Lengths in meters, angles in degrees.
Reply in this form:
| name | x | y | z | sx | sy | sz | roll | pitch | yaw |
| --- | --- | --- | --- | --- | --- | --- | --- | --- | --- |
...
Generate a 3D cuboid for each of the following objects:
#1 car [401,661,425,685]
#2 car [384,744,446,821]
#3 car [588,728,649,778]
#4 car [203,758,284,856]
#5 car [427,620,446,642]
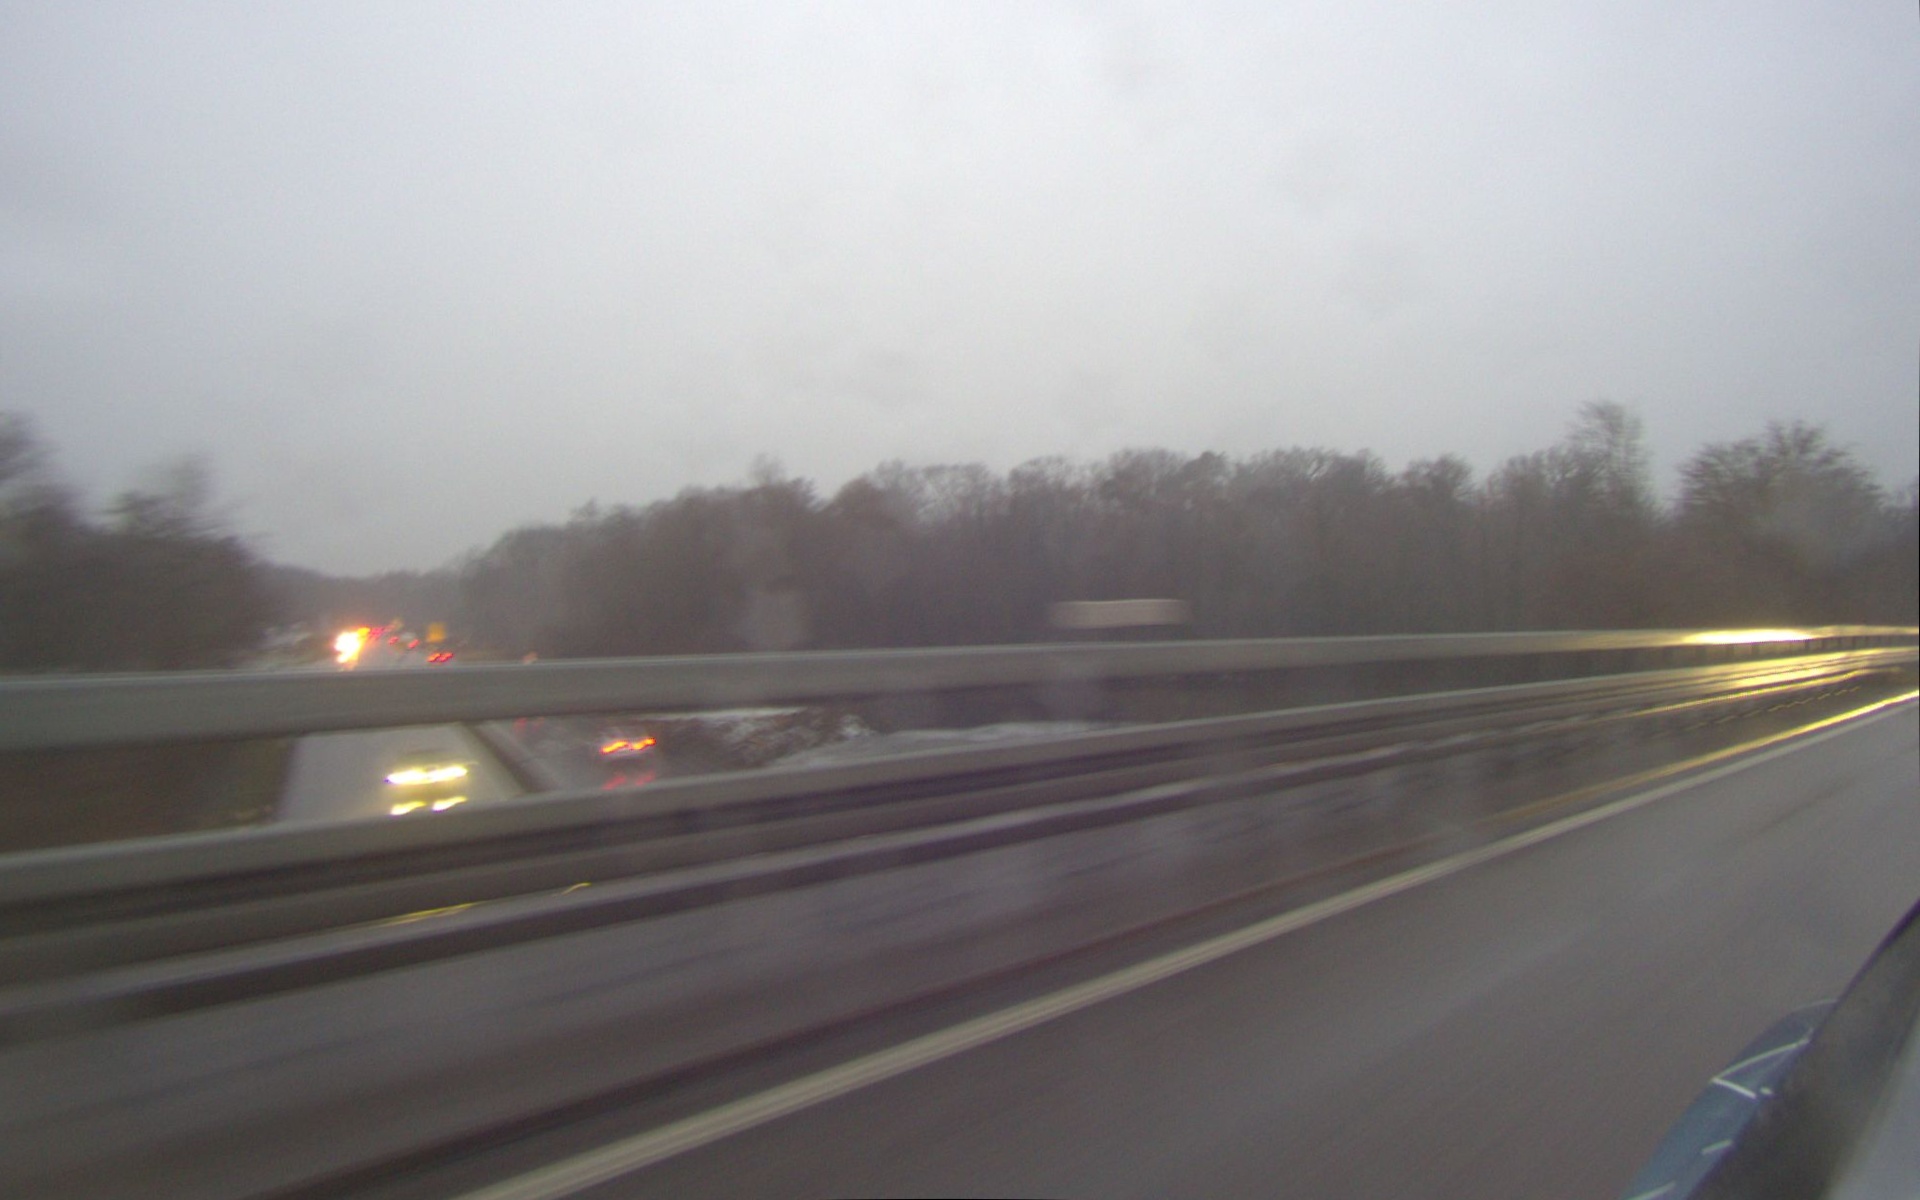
| name | x | y | z | sx | sy | sz | roll | pitch | yaw |
| --- | --- | --- | --- | --- | --- | --- | --- | --- | --- |
| car | -54.743 | 7.272 | 101.316 | 1.959 | 2.039 | 5.720 | 1 | -1 | -28 |
| car | -22.956 | 7.542 | 42.497 | 1.960 | 2.039 | 5.717 | 1 | 1 | -32 |
| car | -16.178 | 7.174 | 47.863 | 1.757 | 1.658 | 3.991 | 1 | 0 | -33 |
| car | -24.024 | 6.836 | 34.113 | 1.961 | 2.039 | 5.715 | 1 | 0 | -33 |
| car | -88.256 | 5.150 | 170.470 | 2.496 | 3.425 | 6.667 | 1 | 1 | -30 |
